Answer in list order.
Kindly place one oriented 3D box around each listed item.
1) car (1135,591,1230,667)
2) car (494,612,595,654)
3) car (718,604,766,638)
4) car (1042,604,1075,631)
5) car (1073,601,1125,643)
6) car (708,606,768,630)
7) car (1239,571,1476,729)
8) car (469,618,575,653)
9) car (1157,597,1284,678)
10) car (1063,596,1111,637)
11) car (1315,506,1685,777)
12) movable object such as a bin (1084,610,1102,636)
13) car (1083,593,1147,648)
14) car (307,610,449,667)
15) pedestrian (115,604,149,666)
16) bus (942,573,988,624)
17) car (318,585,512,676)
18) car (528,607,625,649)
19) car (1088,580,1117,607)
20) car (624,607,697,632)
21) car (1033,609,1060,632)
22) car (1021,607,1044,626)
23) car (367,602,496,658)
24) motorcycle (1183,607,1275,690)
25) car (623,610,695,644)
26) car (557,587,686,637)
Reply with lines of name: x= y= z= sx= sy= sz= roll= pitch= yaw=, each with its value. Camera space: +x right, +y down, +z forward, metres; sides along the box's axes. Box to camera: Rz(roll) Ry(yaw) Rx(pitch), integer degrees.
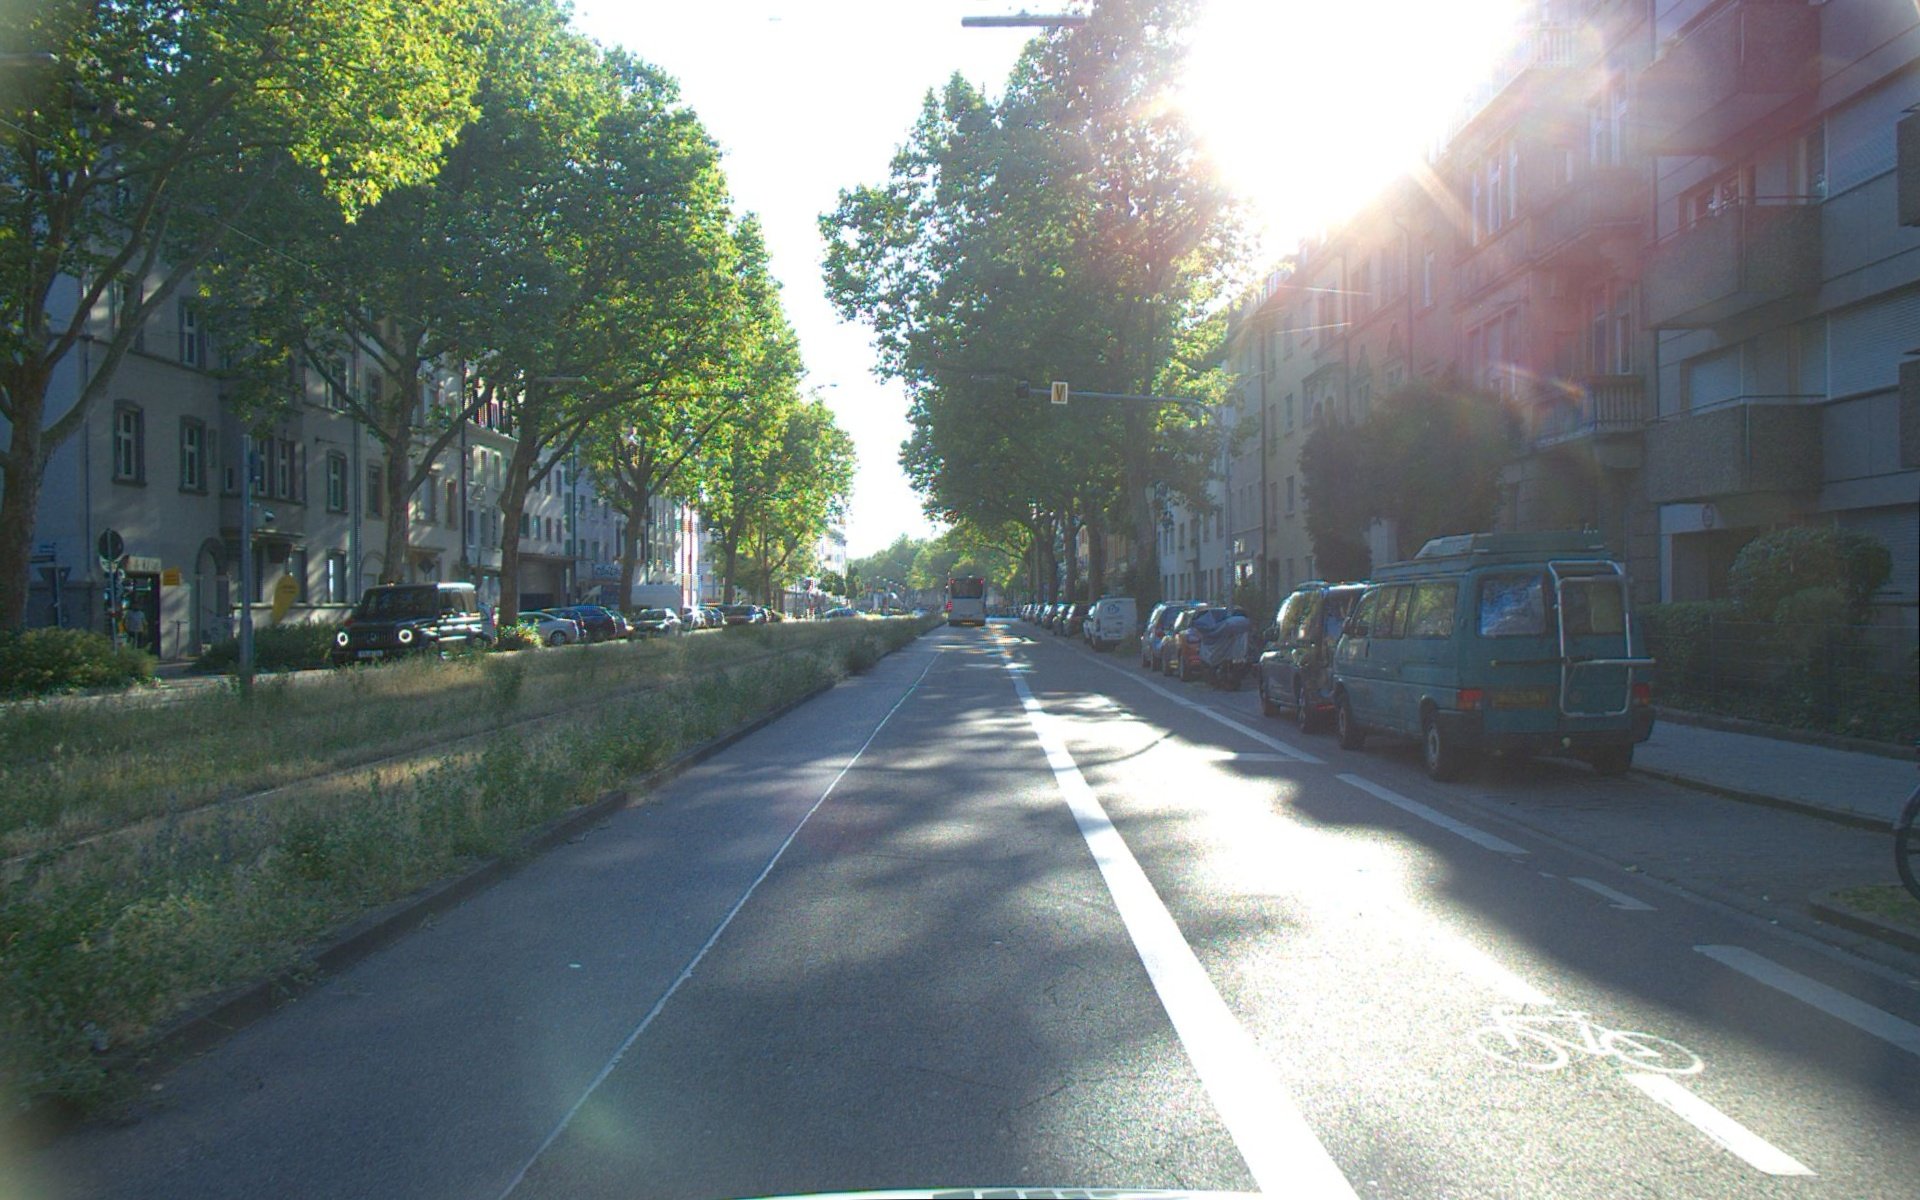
car: x=5.300 y=0.694 z=39.821 sx=1.709 sy=1.720 sz=3.851 roll=-1 pitch=-1 yaw=-1
car: x=-18.389 y=1.422 z=73.258 sx=3.949 sy=1.580 sz=1.836 roll=-4 pitch=2 yaw=-32
car: x=-10.765 y=1.034 z=81.895 sx=1.753 sy=1.601 sz=4.000 roll=-1 pitch=0 yaw=1
car: x=5.870 y=1.009 z=99.170 sx=1.744 sy=1.542 sz=4.000 roll=-1 pitch=0 yaw=0
car: x=5.326 y=0.826 z=63.706 sx=1.612 sy=1.512 sz=4.000 roll=-1 pitch=0 yaw=0
car: x=-17.071 y=1.388 z=127.379 sx=4.272 sy=1.768 sz=1.831 roll=0 pitch=-1 yaw=-41
car: x=5.150 y=0.632 z=22.138 sx=1.953 sy=1.862 sz=4.756 roll=-1 pitch=-1 yaw=-1
car: x=-18.033 y=1.451 z=68.134 sx=3.948 sy=1.380 sz=1.569 roll=0 pitch=-1 yaw=-32
car: x=5.388 y=0.772 z=34.694 sx=1.953 sy=1.587 sz=3.979 roll=-1 pitch=-1 yaw=-1
car: x=5.822 y=0.763 z=76.329 sx=1.709 sy=1.801 sz=4.987 roll=-1 pitch=-1 yaw=-1
car: x=5.179 y=0.397 z=16.761 sx=1.953 sy=2.297 sz=5.234 roll=-1 pitch=-1 yaw=-1
movable object such as a bin: x=5.663 y=0.973 z=70.514 sx=0.659 sy=1.064 sz=0.880 roll=-1 pitch=1 yaw=0
car: x=5.320 y=0.728 z=57.160 sx=1.709 sy=1.801 sz=4.393 roll=-1 pitch=-1 yaw=-1
car: x=-18.567 y=1.198 z=52.850 sx=3.960 sy=1.754 sz=1.760 roll=0 pitch=-1 yaw=-39
pedestrian: x=-24.349 y=1.032 z=48.652 sx=0.614 sy=1.790 sz=0.673 roll=-1 pitch=0 yaw=5
bus: x=0.281 y=-0.042 z=111.423 sx=2.776 sy=3.292 sz=8.178 roll=-1 pitch=-1 yaw=-2
car: x=-11.166 y=0.625 z=34.276 sx=1.829 sy=1.723 sz=4.780 roll=-1 pitch=-1 yaw=9
car: x=-17.756 y=1.277 z=76.628 sx=3.948 sy=1.728 sz=1.836 roll=-2 pitch=0 yaw=-32
car: x=10.693 y=-0.468 z=124.490 sx=1.844 sy=1.892 sz=4.325 roll=-1 pitch=-1 yaw=0
car: x=-18.428 y=1.176 z=101.899 sx=4.214 sy=1.484 sz=1.856 roll=-1 pitch=-1 yaw=-5
car: x=6.096 y=1.422 z=117.036 sx=1.744 sy=1.542 sz=4.000 roll=-1 pitch=0 yaw=0
car: x=6.073 y=1.399 z=139.406 sx=1.744 sy=1.542 sz=4.000 roll=-1 pitch=0 yaw=0
car: x=-18.815 y=1.046 z=58.927 sx=3.957 sy=1.915 sz=1.974 roll=0 pitch=-1 yaw=-37
motorcycle: x=4.914 y=0.857 z=30.430 sx=0.809 sy=1.422 sz=2.372 roll=-3 pitch=0 yaw=-12
car: x=-13.662 y=1.226 z=75.302 sx=1.708 sy=1.485 sz=4.929 roll=-1 pitch=-1 yaw=9
car: x=-18.871 y=0.646 z=92.328 sx=6.837 sy=2.725 sz=2.172 roll=0 pitch=-1 yaw=-21
